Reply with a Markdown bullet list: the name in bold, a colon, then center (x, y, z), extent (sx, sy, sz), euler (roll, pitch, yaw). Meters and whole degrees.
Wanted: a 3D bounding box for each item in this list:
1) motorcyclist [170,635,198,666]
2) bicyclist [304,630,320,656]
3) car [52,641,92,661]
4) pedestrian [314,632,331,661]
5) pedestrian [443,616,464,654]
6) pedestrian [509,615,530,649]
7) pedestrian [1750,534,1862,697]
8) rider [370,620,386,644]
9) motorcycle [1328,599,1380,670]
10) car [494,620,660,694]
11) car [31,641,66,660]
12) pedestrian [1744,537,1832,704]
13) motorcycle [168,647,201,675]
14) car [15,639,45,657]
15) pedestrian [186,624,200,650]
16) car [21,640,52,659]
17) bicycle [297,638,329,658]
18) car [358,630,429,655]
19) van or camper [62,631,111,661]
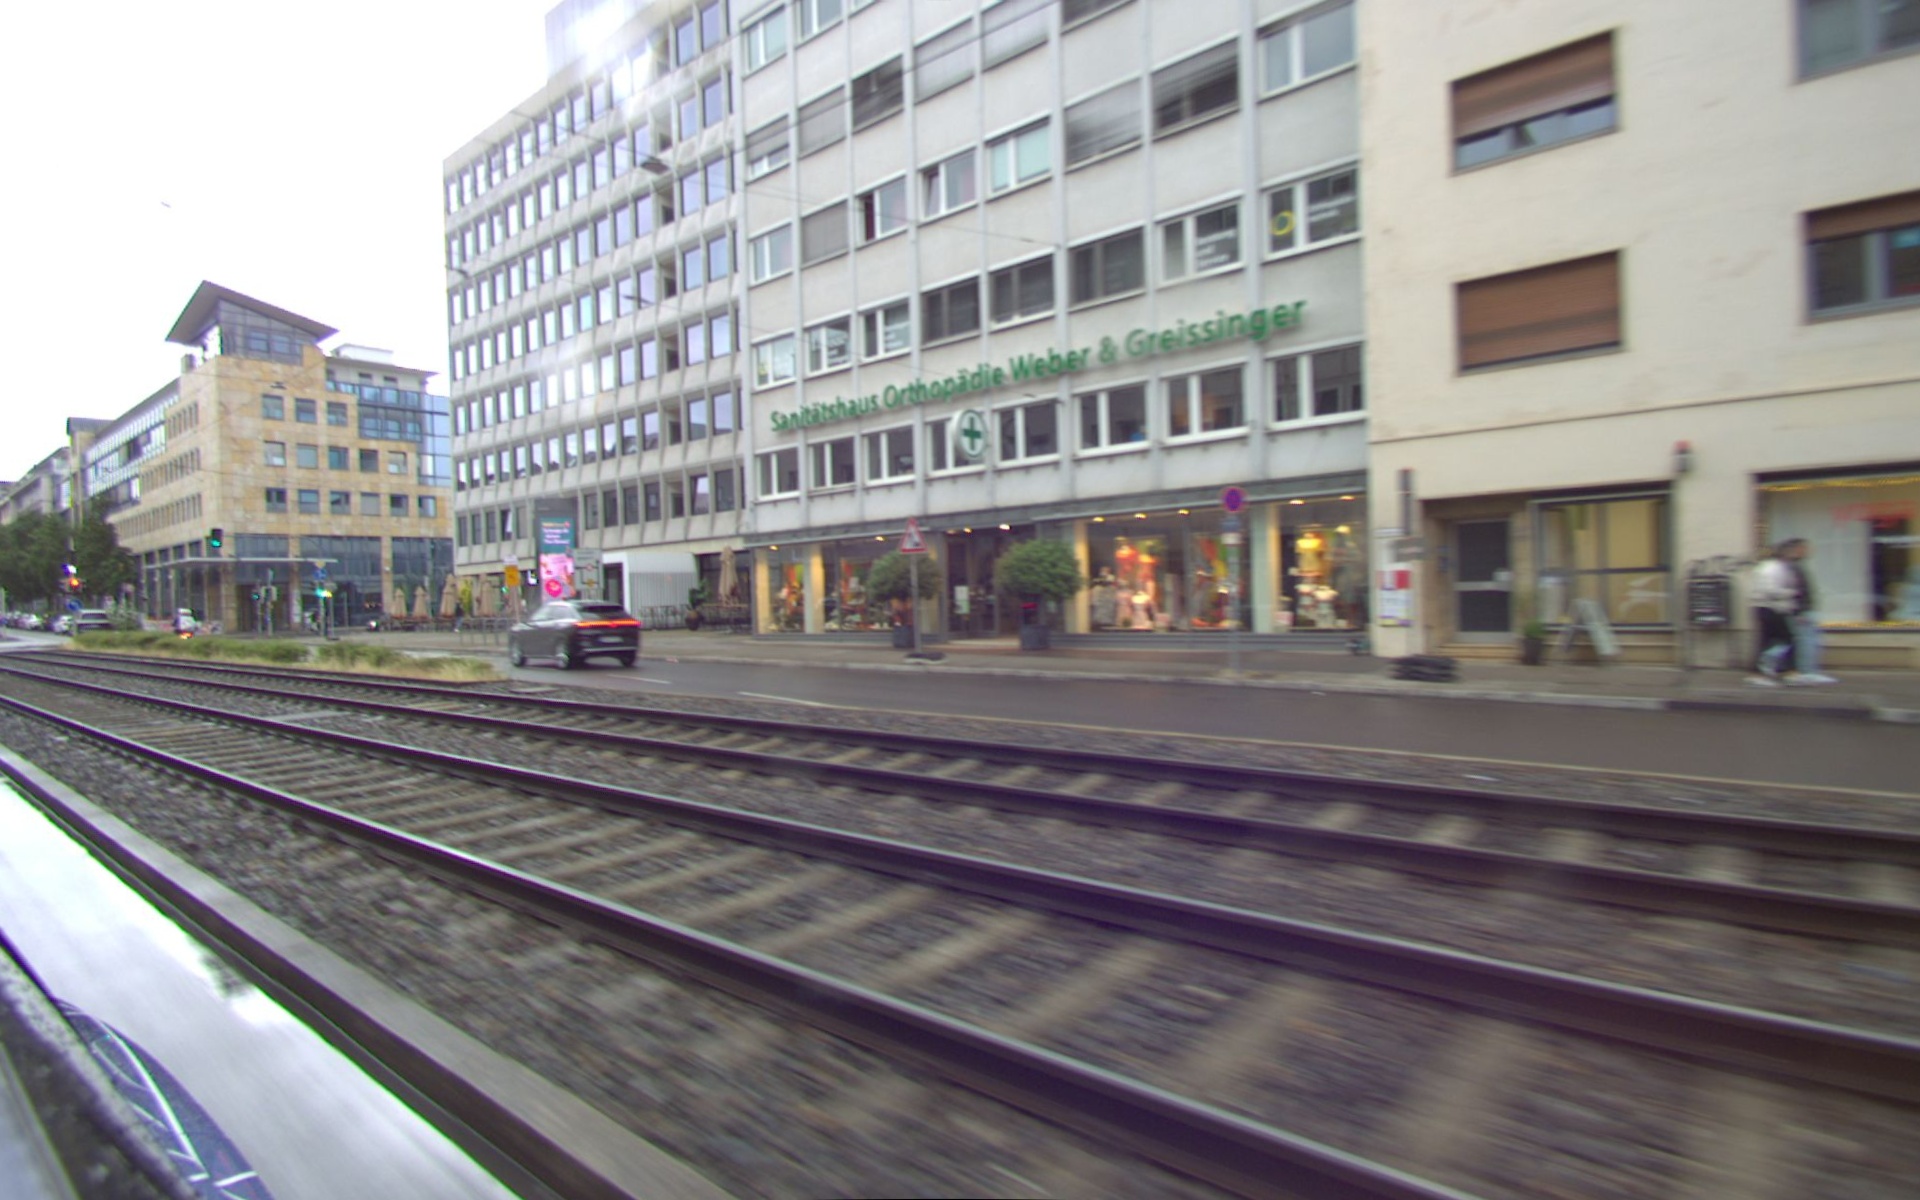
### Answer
- **motorcyclist**: center (-32.201, 2.100, 41.977), extent (0.970, 1.226, 0.734), euler (-2, 0, 43)
- **bicyclist**: center (-45.352, 3.013, 70.880), extent (0.783, 1.818, 0.701), euler (-3, -1, 41)
- **car**: center (-70.228, 4.040, 80.022), extent (4.251, 1.497, 1.672), euler (-3, 0, 40)
- **pedestrian**: center (-41.544, 3.027, 65.944), extent (0.667, 1.794, 0.705), euler (-2, -1, -15)
- **pedestrian**: center (-24.972, 1.712, 49.892), extent (0.843, 1.836, 0.559), euler (-2, 0, 36)
- **pedestrian**: center (-22.793, 1.653, 52.371), extent (0.843, 1.762, 0.559), euler (-2, 0, 36)
- **pedestrian**: center (10.429, 0.184, 12.497), extent (0.982, 1.910, 0.720), euler (-2, 0, 41)
- **rider**: center (-42.752, 2.364, 74.338), extent (0.783, 1.688, 0.701), euler (-3, -1, 41)
- **motorcycle**: center (7.052, 0.598, 18.097), extent (0.385, 1.189, 1.462), euler (-3, 0, 39)
- **car**: center (-9.266, 1.320, 24.313), extent (4.445, 1.530, 1.971), euler (-2, 0, 44)
- **car**: center (-78.240, 4.333, 86.866), extent (3.996, 1.497, 1.672), euler (-3, 0, 40)
- **pedestrian**: center (9.884, 0.239, 12.090), extent (0.742, 1.910, 0.671), euler (-2, 0, 41)
- **motorcycle**: center (-32.159, 2.509, 41.958), extent (1.931, 1.067, 0.734), euler (-2, 0, 43)
- **car**: center (-85.972, 4.402, 93.531), extent (4.291, 1.509, 1.632), euler (-2, -1, 41)
- **pedestrian**: center (-55.688, 2.707, 73.487), extent (0.679, 1.828, 0.693), euler (-3, -1, 43)
- **car**: center (-82.057, 4.374, 89.899), extent (4.190, 1.509, 1.632), euler (-2, -1, 41)
- **bicycle**: center (-45.336, 3.345, 70.901), extent (0.659, 1.321, 1.746), euler (-3, 0, 40)
- **car**: center (-39.843, 2.971, 71.203), extent (1.890, 1.541, 3.945), euler (-3, 0, 41)
- **van or camper**: center (-64.494, 3.345, 74.708), extent (5.195, 2.012, 1.996), euler (-1, 1, 41)
